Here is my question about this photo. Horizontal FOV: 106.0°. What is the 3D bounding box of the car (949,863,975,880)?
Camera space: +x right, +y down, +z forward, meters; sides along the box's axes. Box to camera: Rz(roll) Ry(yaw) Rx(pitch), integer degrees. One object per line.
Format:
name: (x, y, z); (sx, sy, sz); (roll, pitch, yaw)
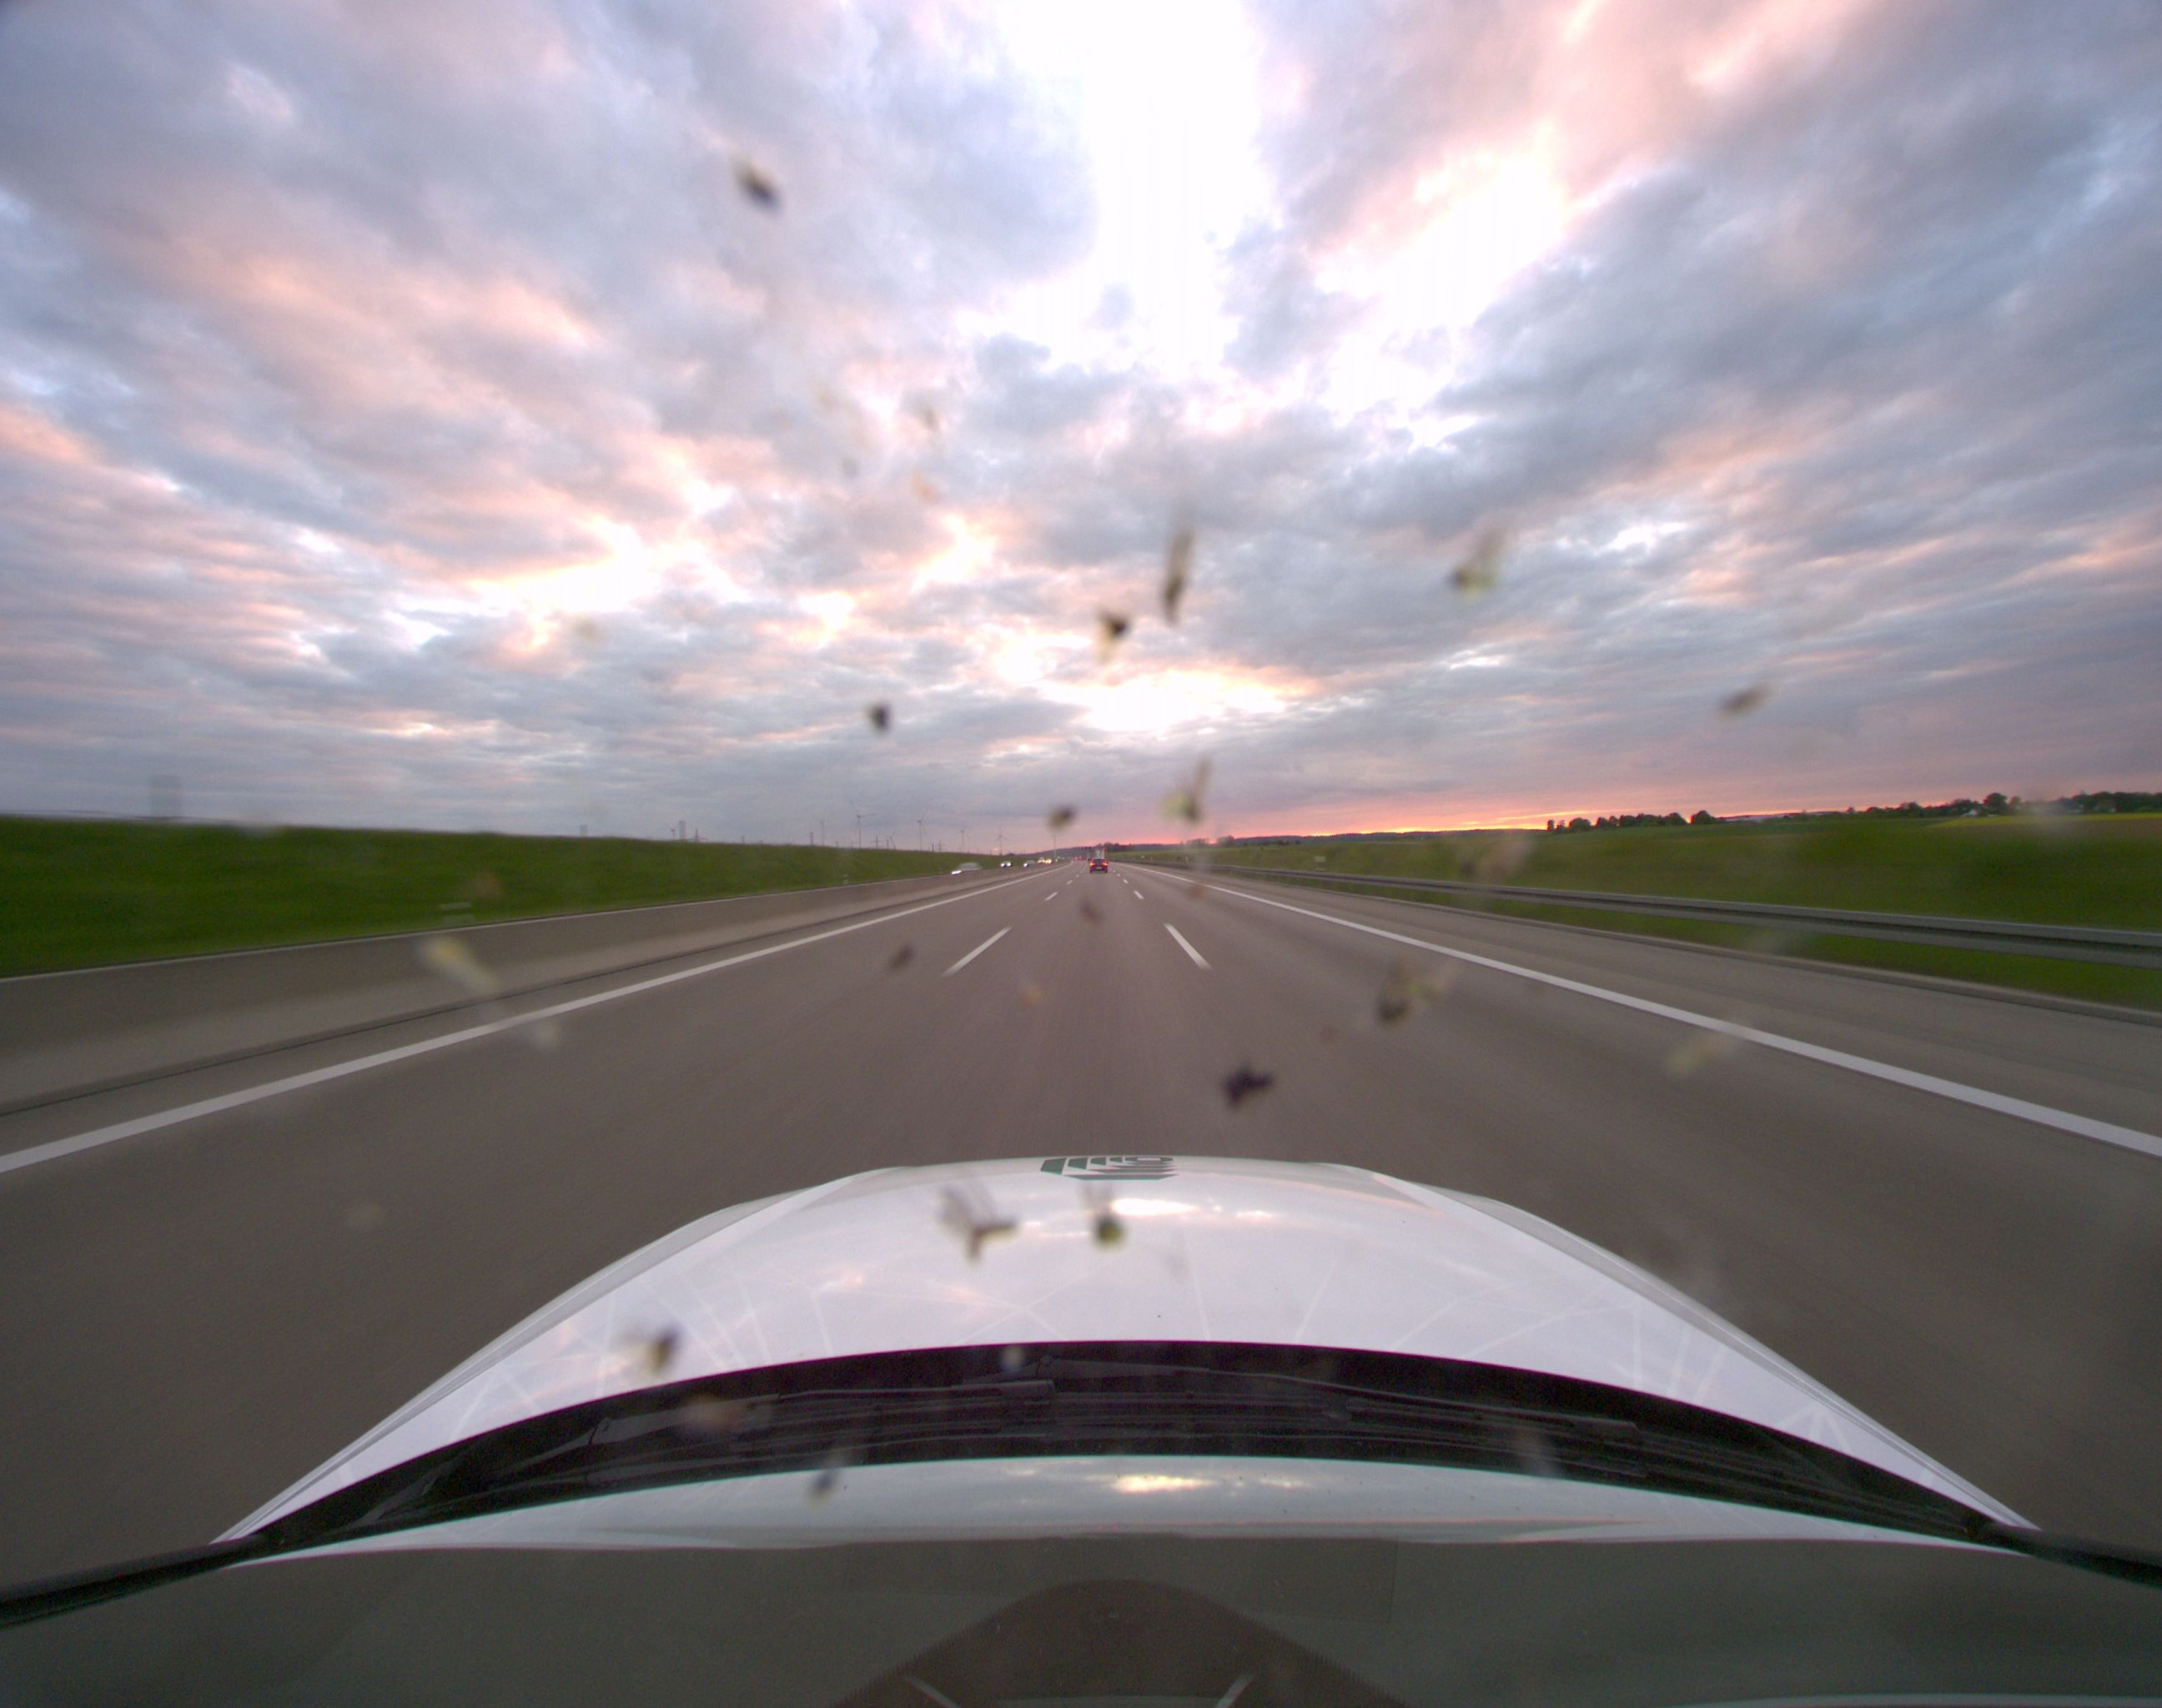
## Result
car: (-10.215, 1.493, 70.300); (1.572, 1.385, 3.773); (-3, 0, 1)

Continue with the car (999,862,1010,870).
car: (-16.370, 2.539, 174.705); (1.856, 1.553, 4.581); (-3, 0, 0)

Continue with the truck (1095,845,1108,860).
truck: (6.521, -0.506, 260.458); (3.664, 4.565, 10.978); (-3, 0, 0)

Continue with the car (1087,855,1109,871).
car: (1.701, 0.871, 79.862); (1.980, 1.429, 4.002); (-3, 0, 2)
